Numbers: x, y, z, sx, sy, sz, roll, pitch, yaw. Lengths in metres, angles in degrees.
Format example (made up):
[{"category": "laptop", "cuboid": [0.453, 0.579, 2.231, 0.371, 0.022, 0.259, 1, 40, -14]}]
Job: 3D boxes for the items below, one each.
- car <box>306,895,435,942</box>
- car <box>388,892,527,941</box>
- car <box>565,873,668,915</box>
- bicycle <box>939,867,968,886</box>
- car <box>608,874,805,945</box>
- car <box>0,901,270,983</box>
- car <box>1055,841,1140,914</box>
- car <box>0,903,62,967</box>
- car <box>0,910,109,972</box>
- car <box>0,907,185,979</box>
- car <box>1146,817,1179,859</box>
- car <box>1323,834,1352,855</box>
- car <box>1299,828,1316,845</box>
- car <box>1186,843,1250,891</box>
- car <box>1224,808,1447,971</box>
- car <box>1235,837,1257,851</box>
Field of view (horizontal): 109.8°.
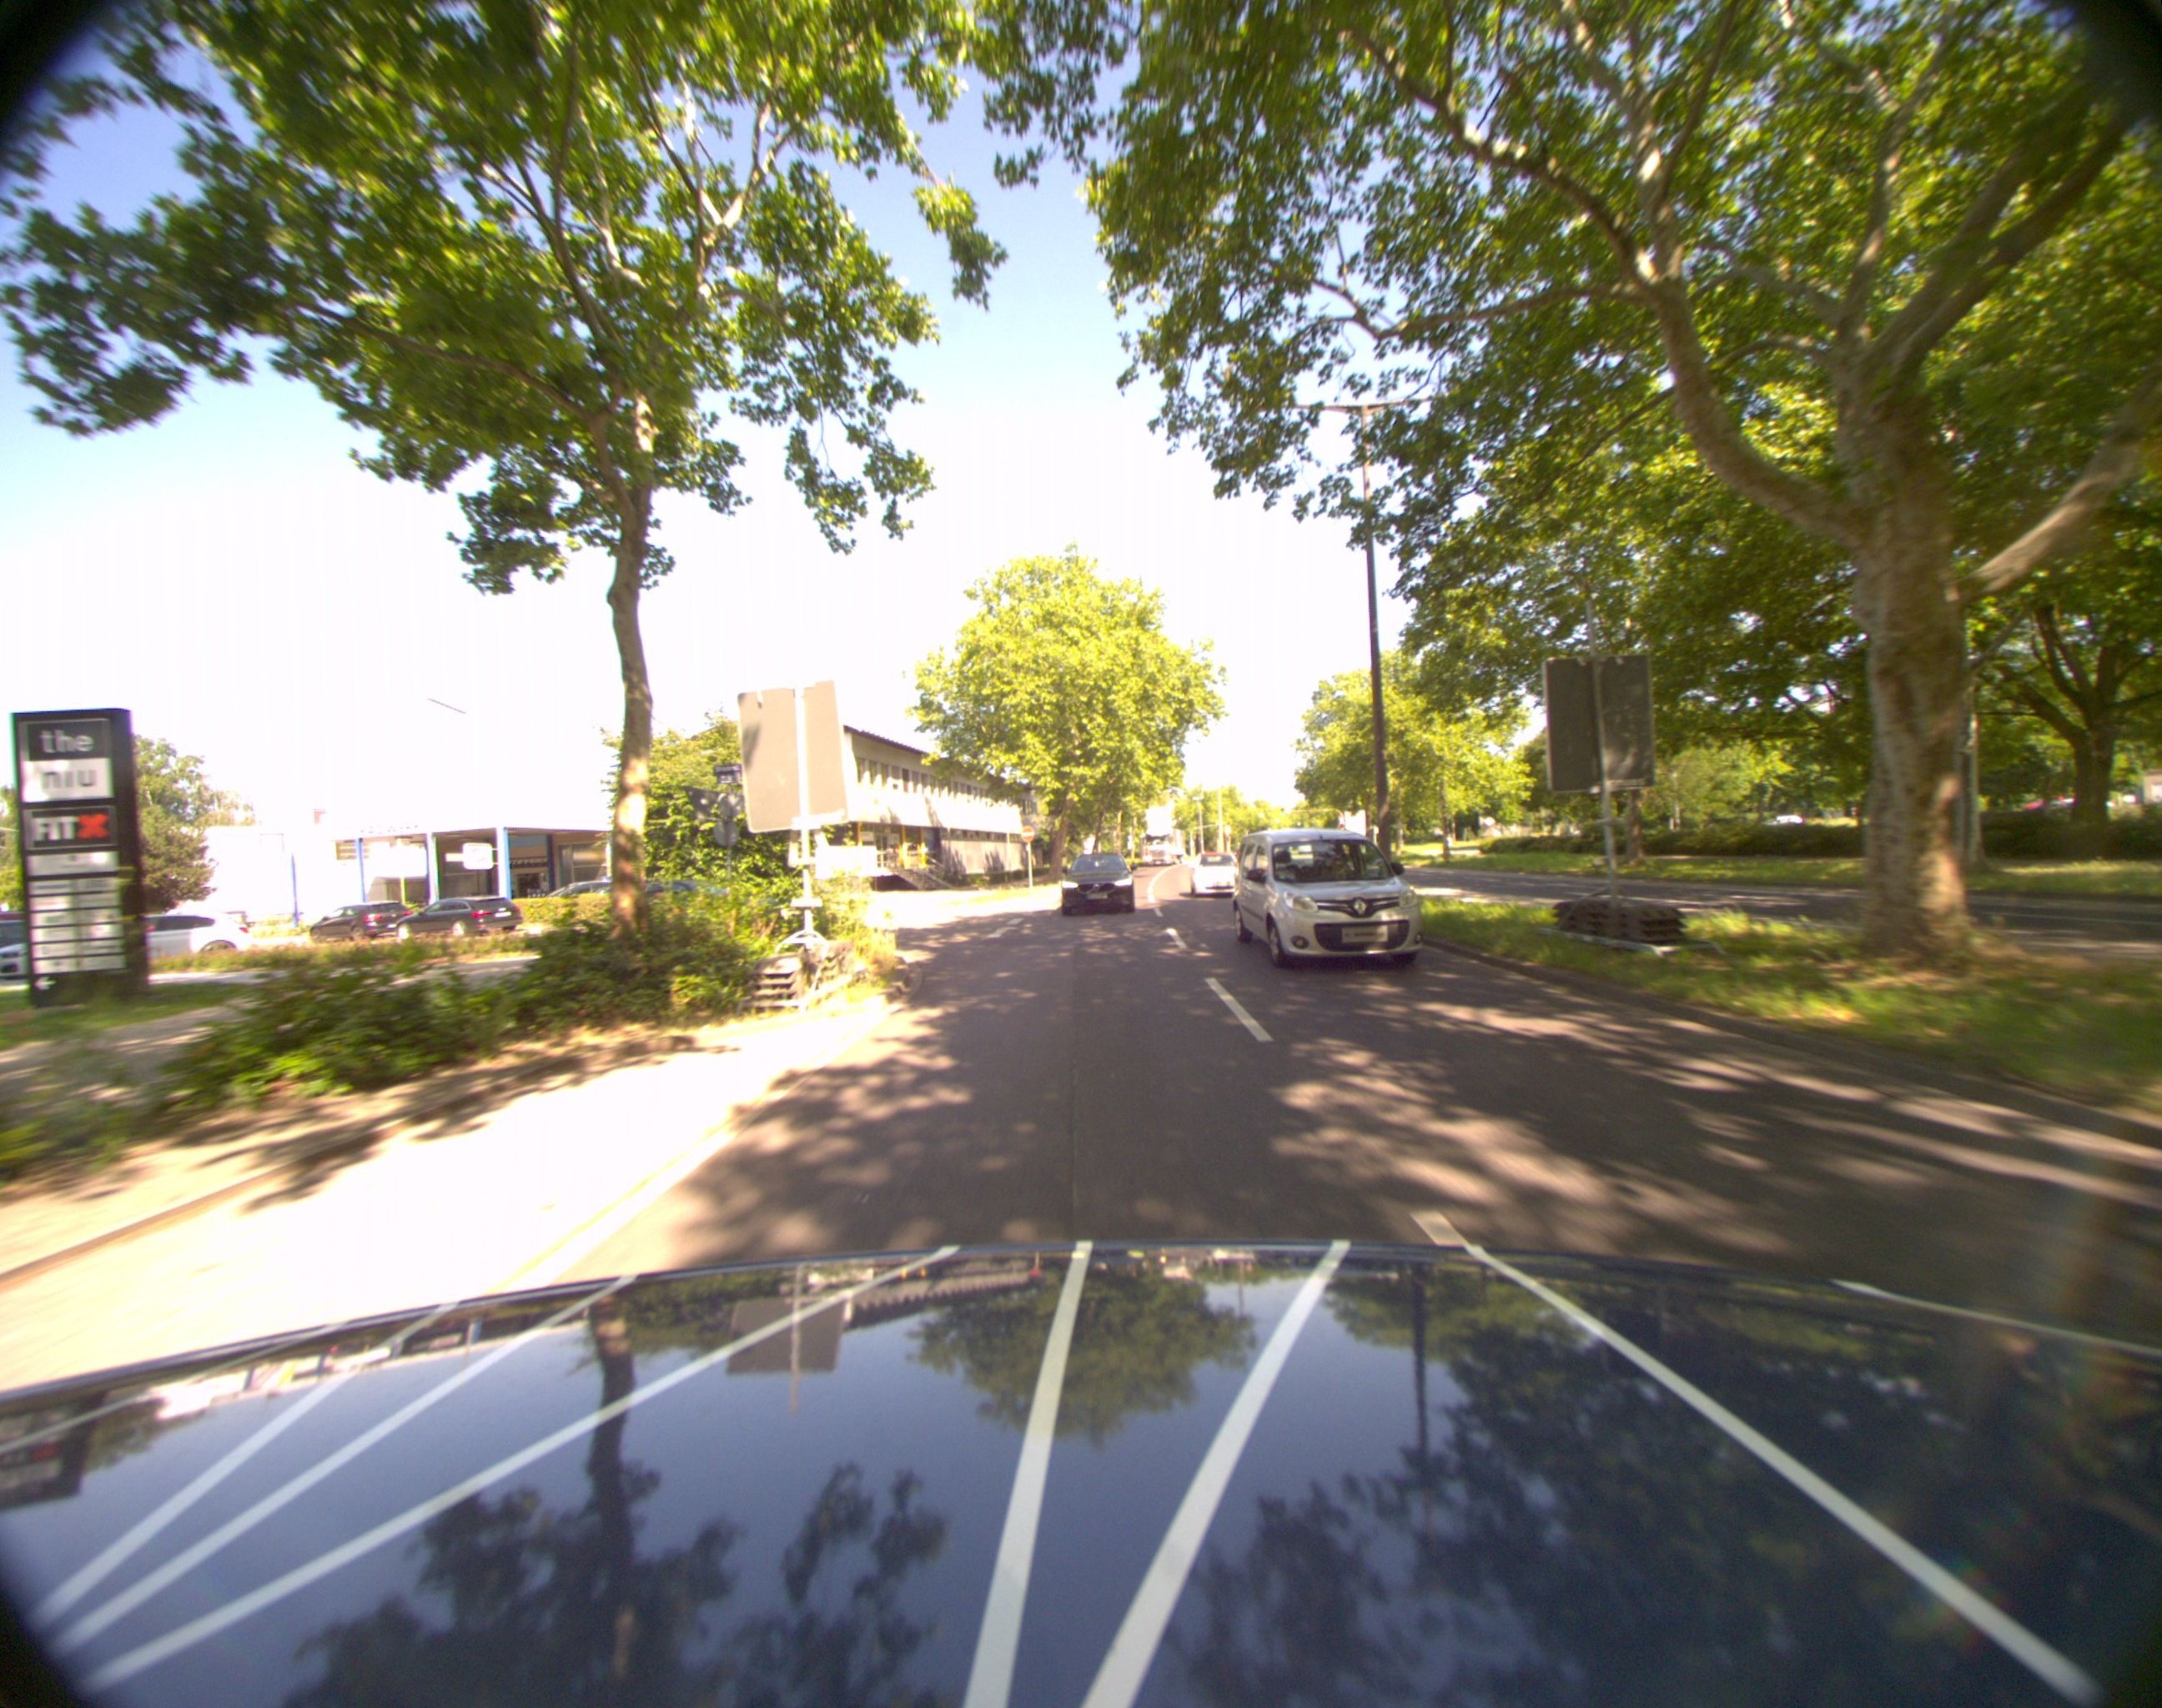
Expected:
[{"category": "car", "cuboid": [-27.881, 2.537, 29.837, 3.992, 1.542, 2.003, -4, -1, 19]}, {"category": "car", "cuboid": [-22.428, 2.252, 27.370, 4.048, 1.390, 1.873, -4, 1, 17]}, {"category": "car", "cuboid": [-21.848, 1.847, 35.828, 1.677, 1.652, 3.755, -3, 1, 42]}, {"category": "bicycle", "cuboid": [-7.824, 1.363, 46.463, 1.672, 1.124, 0.509, -1, 1, 19]}, {"category": "car", "cuboid": [-9.701, 1.426, 19.797, 4.254, 1.508, 2.002, -4, 0, 15]}, {"category": "car", "cuboid": [-24.056, 2.121, 19.124, 1.996, 1.542, 4.487, -4, -1, 19]}, {"category": "car", "cuboid": [0.438, 0.536, 20.091, 1.904, 1.606, 4.873, -2, 0, 1]}, {"category": "car", "cuboid": [-33.419, 2.520, 21.821, 1.996, 1.841, 4.487, -4, -1, 19]}, {"category": "car", "cuboid": [-30.866, 2.541, 20.979, 1.996, 1.543, 4.487, -4, -1, 19]}, {"category": "car", "cuboid": [-26.633, 2.296, 19.321, 1.996, 1.542, 4.487, -4, -1, 19]}, {"category": "car", "cuboid": [8.396, -1.583, 77.541, 2.901, 3.898, 7.145, -3, 0, 9]}, {"category": "car", "cuboid": [20.354, -0.752, 60.501, 1.797, 1.547, 4.400, -2, 1, 14]}, {"category": "car", "cuboid": [36.826, -2.904, 123.560, 2.062, 2.598, 7.227, -2, 1, 21]}, {"category": "car", "cuboid": [4.653, 0.401, 26.369, 1.689, 1.482, 4.376, -2, 0, 4]}, {"category": "car", "cuboid": [3.325, 0.382, 10.905, 1.876, 1.829, 4.375, -2, 1, 3]}, {"category": "car", "cuboid": [18.475, -1.113, 84.981, 1.696, 1.499, 4.135, -3, 0, 23]}]
